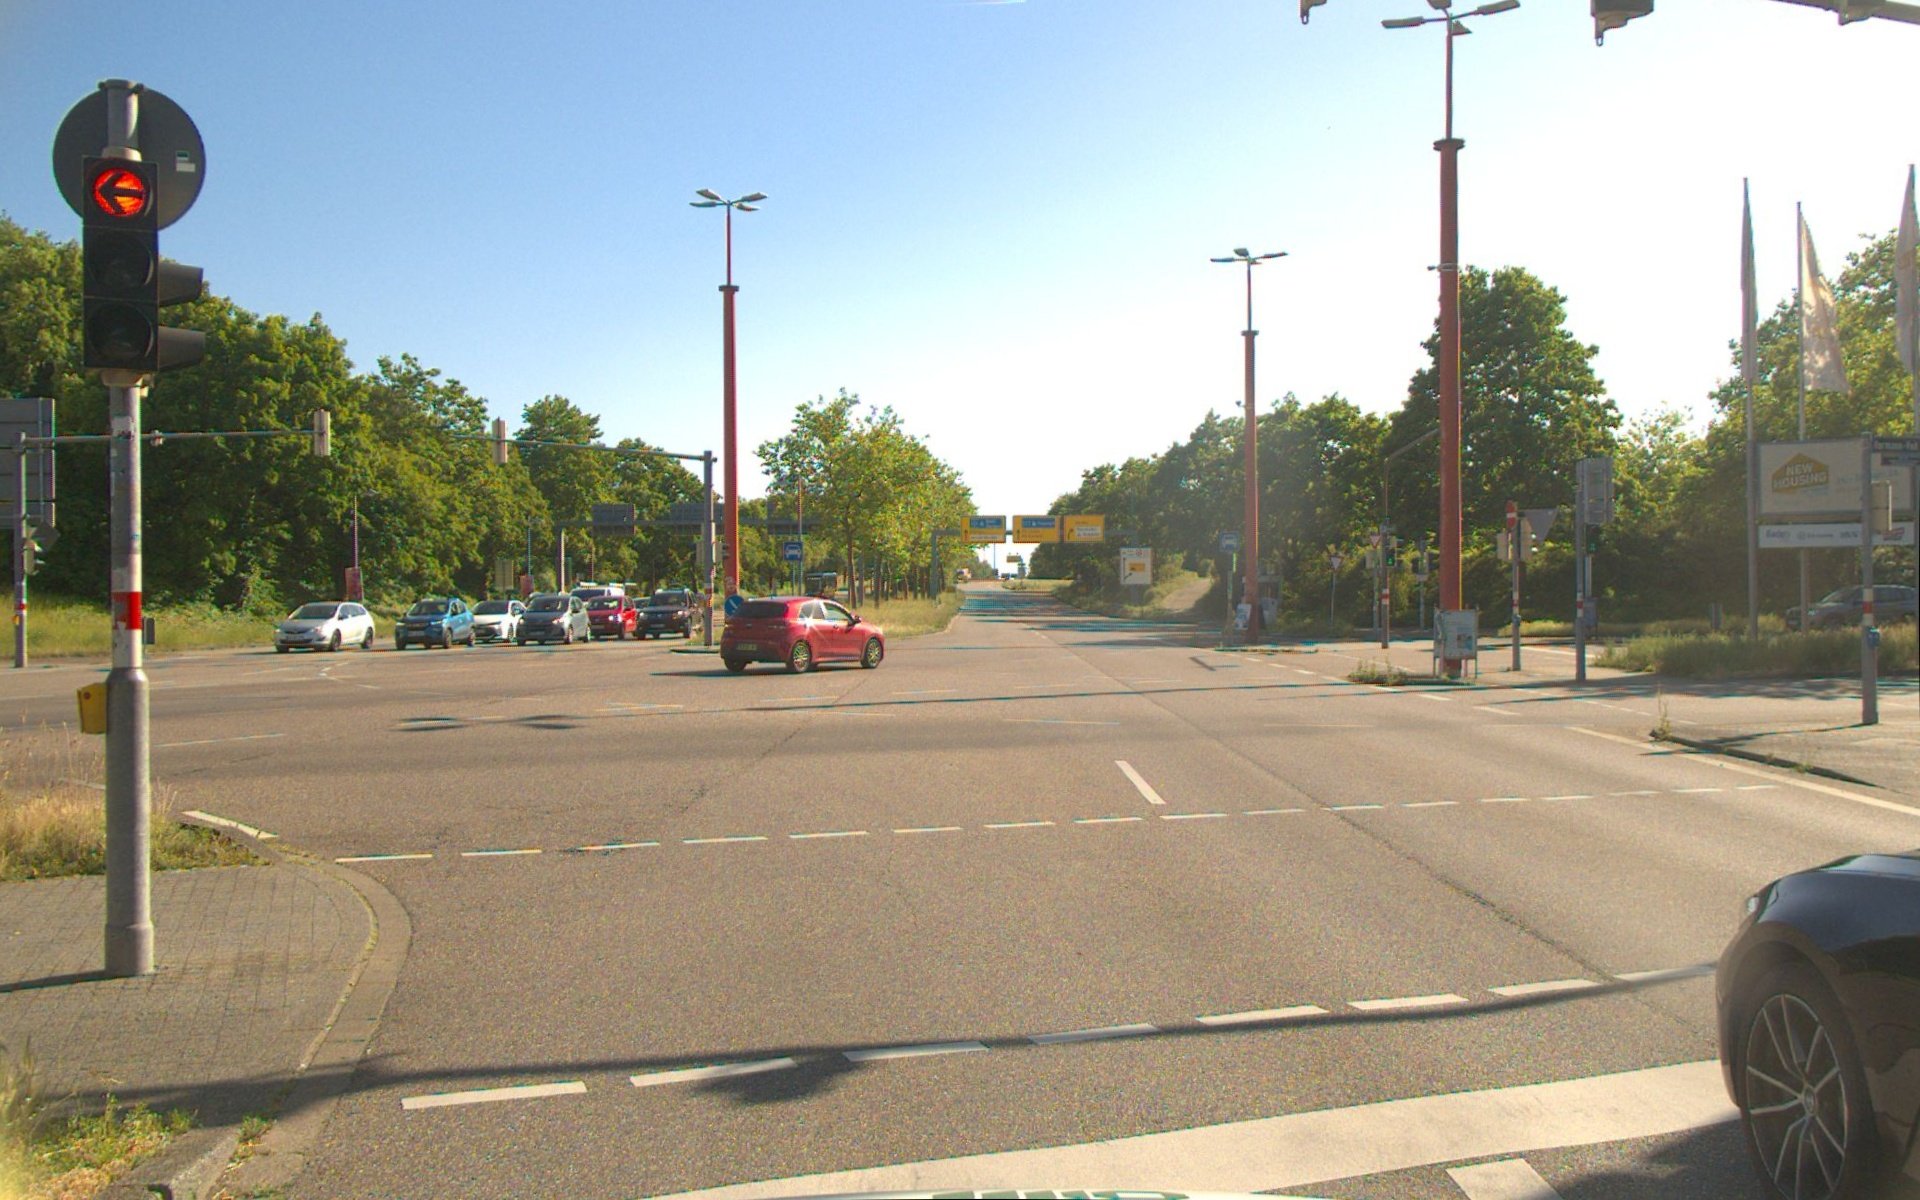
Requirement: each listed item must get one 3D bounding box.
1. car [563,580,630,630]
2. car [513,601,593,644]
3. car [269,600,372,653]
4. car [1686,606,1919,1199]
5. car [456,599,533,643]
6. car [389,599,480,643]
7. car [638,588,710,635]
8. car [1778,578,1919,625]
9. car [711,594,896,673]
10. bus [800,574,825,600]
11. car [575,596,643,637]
[{"bbox_3d":[-15.524,0.210,70.923,1.855,2.061,5.221,0,0,-2],"label":"car"},{"bbox_3d":[-12.668,0.671,51.689,1.704,1.265,3.611,0,0,-2],"label":"car"},{"bbox_3d":[-19.483,0.777,50.551,1.725,1.559,3.934,0,0,-2],"label":"car"},{"bbox_3d":[2.918,0.733,2.355,1.831,1.422,4.443,0,0,0],"label":"car"},{"bbox_3d":[-15.926,0.703,56.785,1.704,1.436,3.611,0,0,-2],"label":"car"},{"bbox_3d":[-16.049,0.614,50.667,1.704,1.265,3.611,0,0,-2],"label":"car"},{"bbox_3d":[-9.620,0.375,55.863,1.782,1.534,3.999,0,0,-1],"label":"car"},{"bbox_3d":[29.893,0.053,55.298,4.228,1.511,1.785,0,0,-2],"label":"car"},{"bbox_3d":[-3.053,0.632,33.059,1.649,1.460,4.057,0,0,30],"label":"car"},{"bbox_3d":[-19.279,-1.716,216.854,2.441,3.295,9.998,0,0,-1],"label":"bus"},{"bbox_3d":[-12.275,0.555,58.067,1.704,1.386,3.611,0,0,-2],"label":"car"}]
